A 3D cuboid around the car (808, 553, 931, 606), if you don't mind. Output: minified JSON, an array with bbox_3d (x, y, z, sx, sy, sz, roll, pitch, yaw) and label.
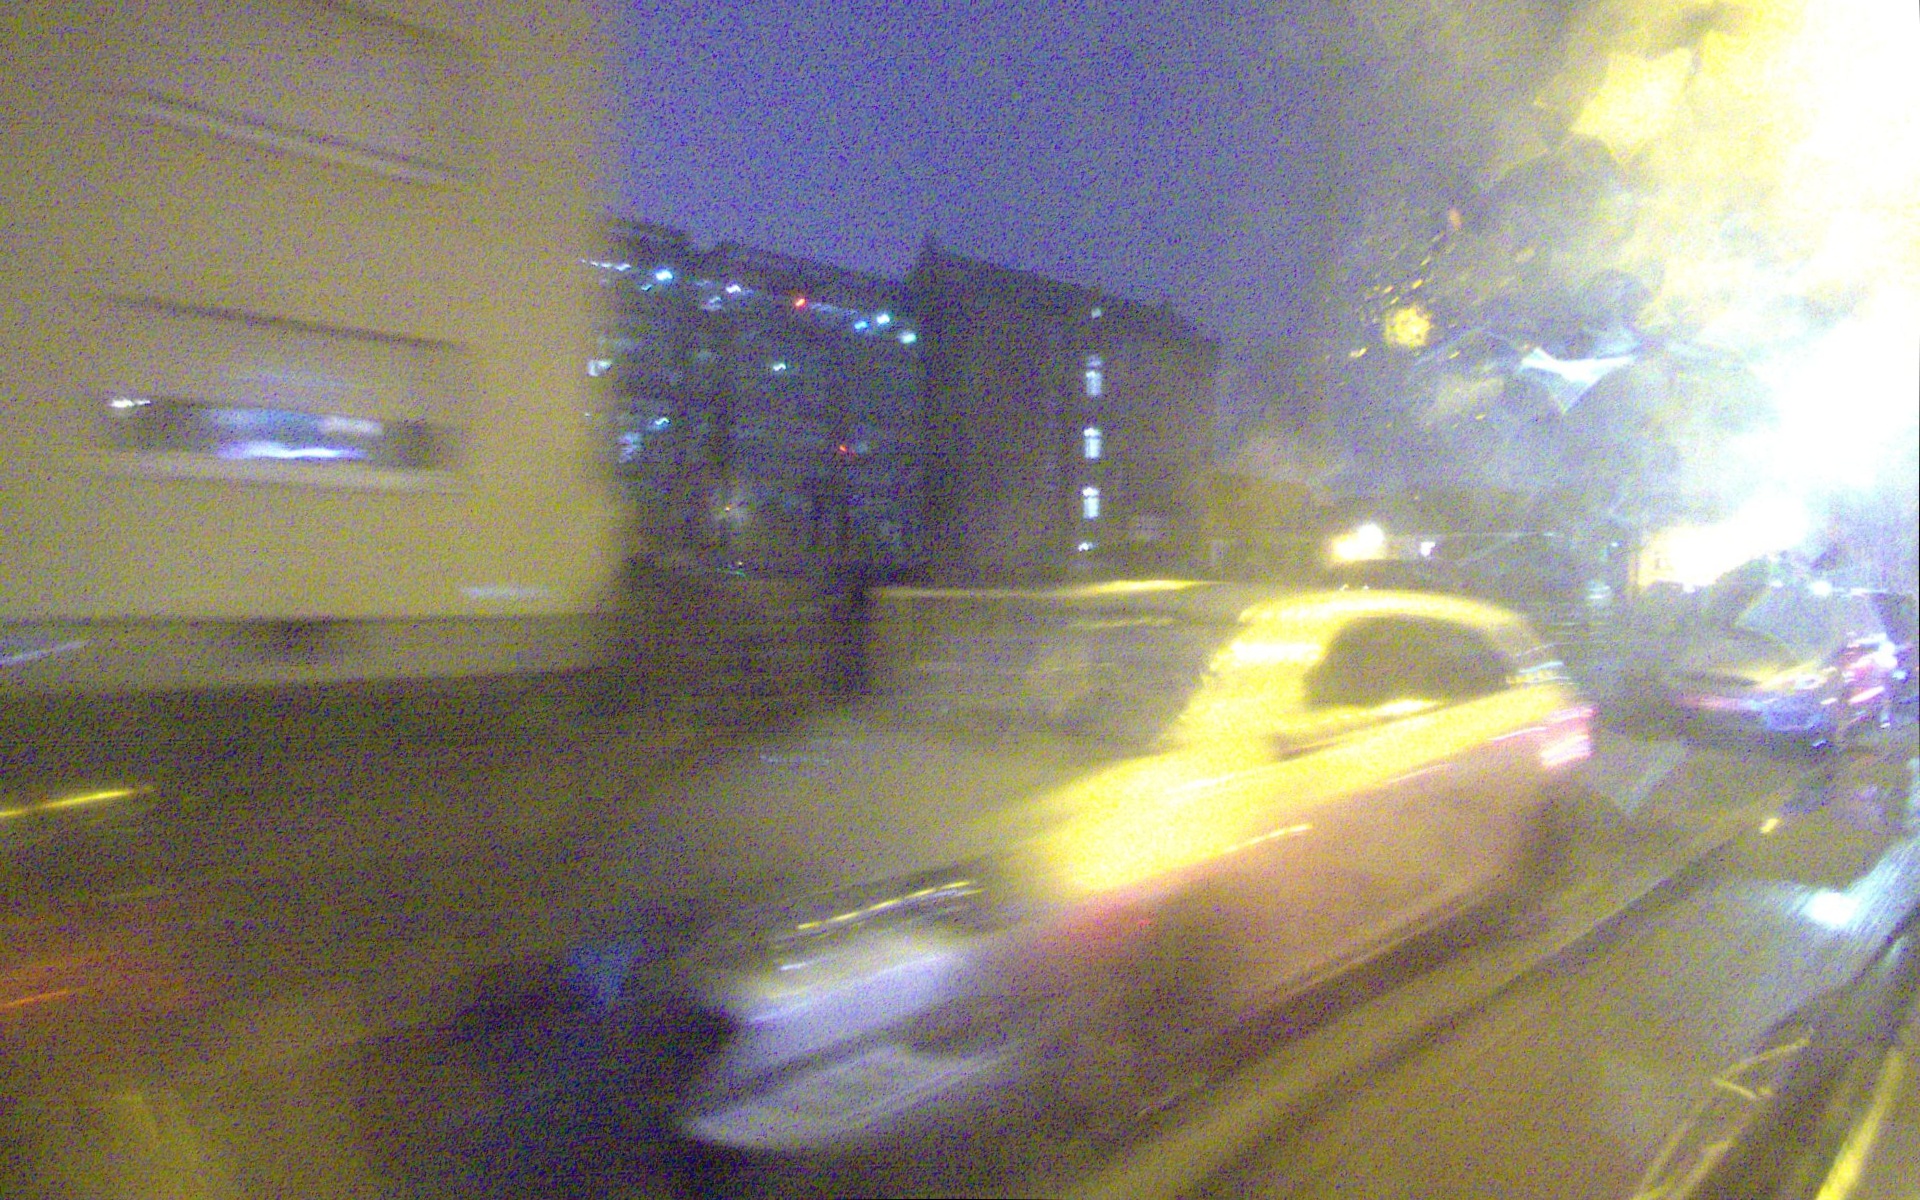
[{"bbox_3d":[-2.988,-0.683,32.835,1.798,1.584,4.152,0,2,-43],"label":"car"}]

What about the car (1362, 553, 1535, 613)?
[{"bbox_3d":[14.272,-0.527,29.760,1.774,1.637,4.227,0,1,-39],"label":"car"}]

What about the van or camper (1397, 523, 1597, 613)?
[{"bbox_3d":[16.591,-0.979,31.543,2.130,2.558,5.079,0,1,-36],"label":"van or camper"}]

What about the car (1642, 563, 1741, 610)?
[{"bbox_3d":[28.136,-0.515,38.898,4.180,1.717,1.909,-1,0,-37],"label":"car"}]

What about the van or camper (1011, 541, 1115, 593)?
[{"bbox_3d":[5.271,-1.717,52.503,2.339,2.585,5.393,-1,2,-37],"label":"van or camper"}]

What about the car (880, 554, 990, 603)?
[{"bbox_3d":[-0.913,-0.739,34.505,1.742,1.583,3.998,0,1,-38],"label":"car"}]

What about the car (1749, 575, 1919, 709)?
[{"bbox_3d":[13.127,0.511,14.620,4.449,1.591,1.885,0,3,-41],"label":"car"}]

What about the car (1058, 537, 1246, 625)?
[{"bbox_3d":[4.261,-0.444,22.977,1.717,1.812,4.077,0,1,-38],"label":"car"}]

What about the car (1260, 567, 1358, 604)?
[{"bbox_3d":[14.308,-0.595,41.392,4.180,1.431,1.684,0,1,-36],"label":"car"}]

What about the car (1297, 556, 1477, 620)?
[{"bbox_3d":[10.998,-0.342,26.293,1.655,1.540,3.996,0,1,-39],"label":"car"}]

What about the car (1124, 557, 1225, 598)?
[{"bbox_3d":[8.837,-0.938,41.880,1.538,1.596,3.996,0,1,-40],"label":"car"}]

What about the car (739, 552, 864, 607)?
[{"bbox_3d":[-4.920,-0.637,31.145,1.798,1.584,4.152,0,2,-43],"label":"car"}]

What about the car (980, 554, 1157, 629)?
[{"bbox_3d":[2.189,-0.211,21.250,1.591,1.417,3.696,0,1,-38],"label":"car"}]

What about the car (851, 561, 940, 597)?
[{"bbox_3d":[-3.079,-0.998,47.327,1.959,1.608,4.602,-1,2,-36],"label":"car"}]

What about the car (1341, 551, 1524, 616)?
[{"bbox_3d":[12.803,-0.463,27.624,1.655,1.637,4.227,0,1,-39],"label":"car"}]

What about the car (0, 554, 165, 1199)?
[{"bbox_3d":[-2.977,0.646,0.698,3.728,1.405,1.606,0,3,-42],"label":"car"}]

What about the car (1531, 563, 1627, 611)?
[{"bbox_3d":[20.116,-0.433,32.870,3.345,1.487,1.567,0,1,-38],"label":"car"}]

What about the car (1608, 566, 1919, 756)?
[{"bbox_3d":[8.917,0.510,11.049,4.509,1.592,1.885,0,3,-42],"label":"car"}]

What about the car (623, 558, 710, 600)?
[{"bbox_3d":[-12.005,-0.897,41.177,1.959,1.608,4.602,-1,2,-36],"label":"car"}]

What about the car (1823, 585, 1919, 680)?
[{"bbox_3d":[17.487,0.550,18.628,4.080,1.547,1.758,0,3,-41],"label":"car"}]

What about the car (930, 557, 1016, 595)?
[{"bbox_3d":[0.592,-1.221,50.905,1.872,1.827,4.666,-1,2,-36],"label":"car"}]

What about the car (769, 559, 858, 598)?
[{"bbox_3d":[-6.468,-0.972,44.284,1.959,1.608,4.602,-1,2,-36],"label":"car"}]

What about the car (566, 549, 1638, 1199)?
[{"bbox_3d":[0.966,0.613,4.014,4.429,1.484,1.632,0,3,-40],"label":"car"}]

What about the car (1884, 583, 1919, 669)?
[{"bbox_3d":[21.274,0.556,21.660,4.114,1.728,1.716,0,3,-42],"label":"car"}]
